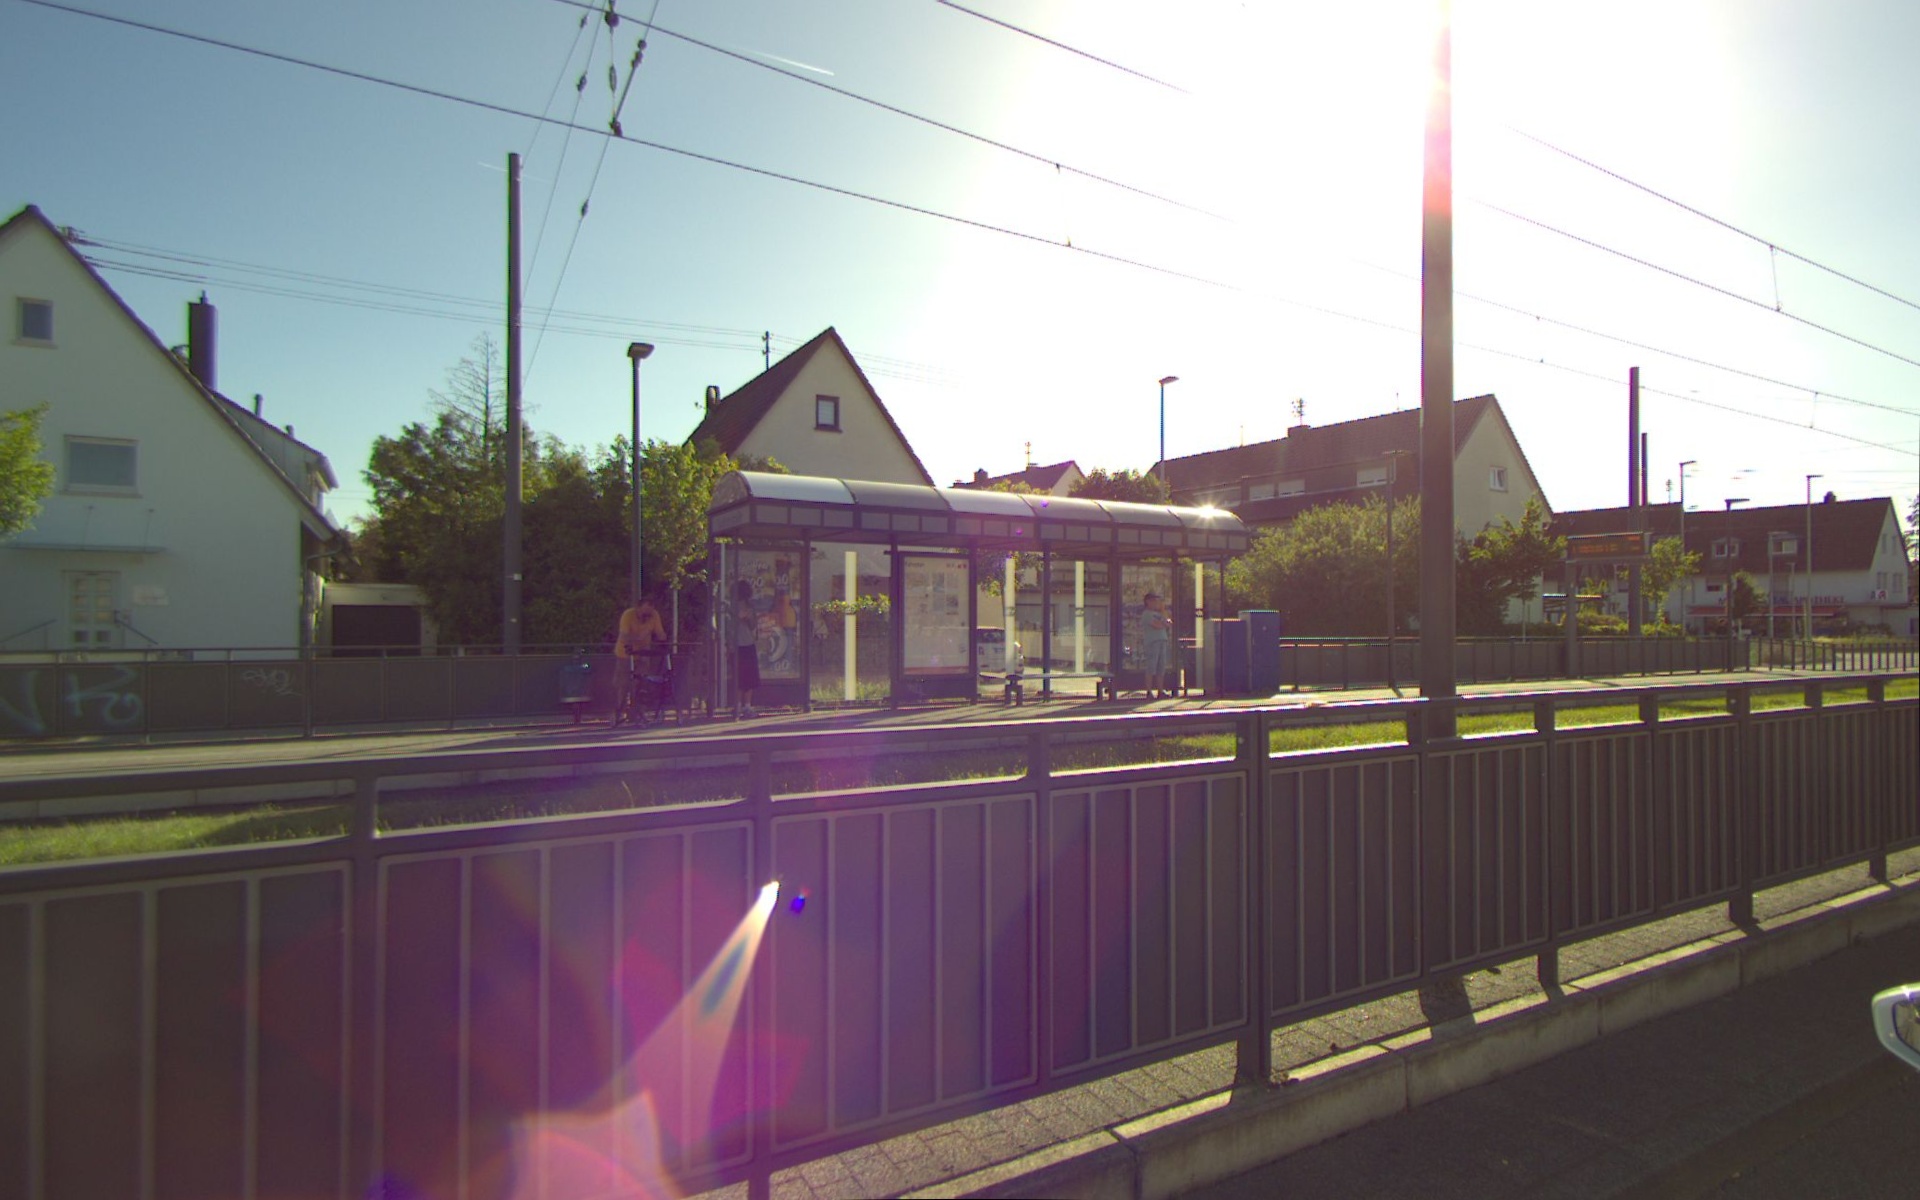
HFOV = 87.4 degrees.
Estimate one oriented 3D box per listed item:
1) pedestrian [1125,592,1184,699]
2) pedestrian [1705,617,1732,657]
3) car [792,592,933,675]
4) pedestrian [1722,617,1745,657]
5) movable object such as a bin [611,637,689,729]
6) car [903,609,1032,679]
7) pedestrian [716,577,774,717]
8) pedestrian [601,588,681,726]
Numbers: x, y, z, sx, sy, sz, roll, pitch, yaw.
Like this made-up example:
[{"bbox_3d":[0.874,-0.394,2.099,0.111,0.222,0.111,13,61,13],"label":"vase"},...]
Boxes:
[{"bbox_3d":[3.197,0.746,16.522,0.762,1.718,0.498,0,-3,-29],"label":"pedestrian"},{"bbox_3d":[33.549,1.630,44.436,0.763,1.785,0.725,1,-1,-31],"label":"pedestrian"},{"bbox_3d":[-2.650,0.822,26.541,1.915,1.996,3.958,1,0,-37],"label":"car"},{"bbox_3d":[34.730,1.654,45.086,0.682,1.755,0.590,1,-1,-32],"label":"pedestrian"},{"bbox_3d":[-3.535,0.925,11.459,0.734,1.001,0.543,1,-1,-34],"label":"movable object such as a bin"},{"bbox_3d":[0.164,1.224,29.155,1.783,1.830,3.816,1,0,-37],"label":"car"},{"bbox_3d":[-2.746,0.592,12.841,0.575,1.731,0.516,1,-1,-34],"label":"pedestrian"},{"bbox_3d":[-3.753,0.655,11.807,0.741,1.556,0.671,1,-1,-34],"label":"pedestrian"}]
